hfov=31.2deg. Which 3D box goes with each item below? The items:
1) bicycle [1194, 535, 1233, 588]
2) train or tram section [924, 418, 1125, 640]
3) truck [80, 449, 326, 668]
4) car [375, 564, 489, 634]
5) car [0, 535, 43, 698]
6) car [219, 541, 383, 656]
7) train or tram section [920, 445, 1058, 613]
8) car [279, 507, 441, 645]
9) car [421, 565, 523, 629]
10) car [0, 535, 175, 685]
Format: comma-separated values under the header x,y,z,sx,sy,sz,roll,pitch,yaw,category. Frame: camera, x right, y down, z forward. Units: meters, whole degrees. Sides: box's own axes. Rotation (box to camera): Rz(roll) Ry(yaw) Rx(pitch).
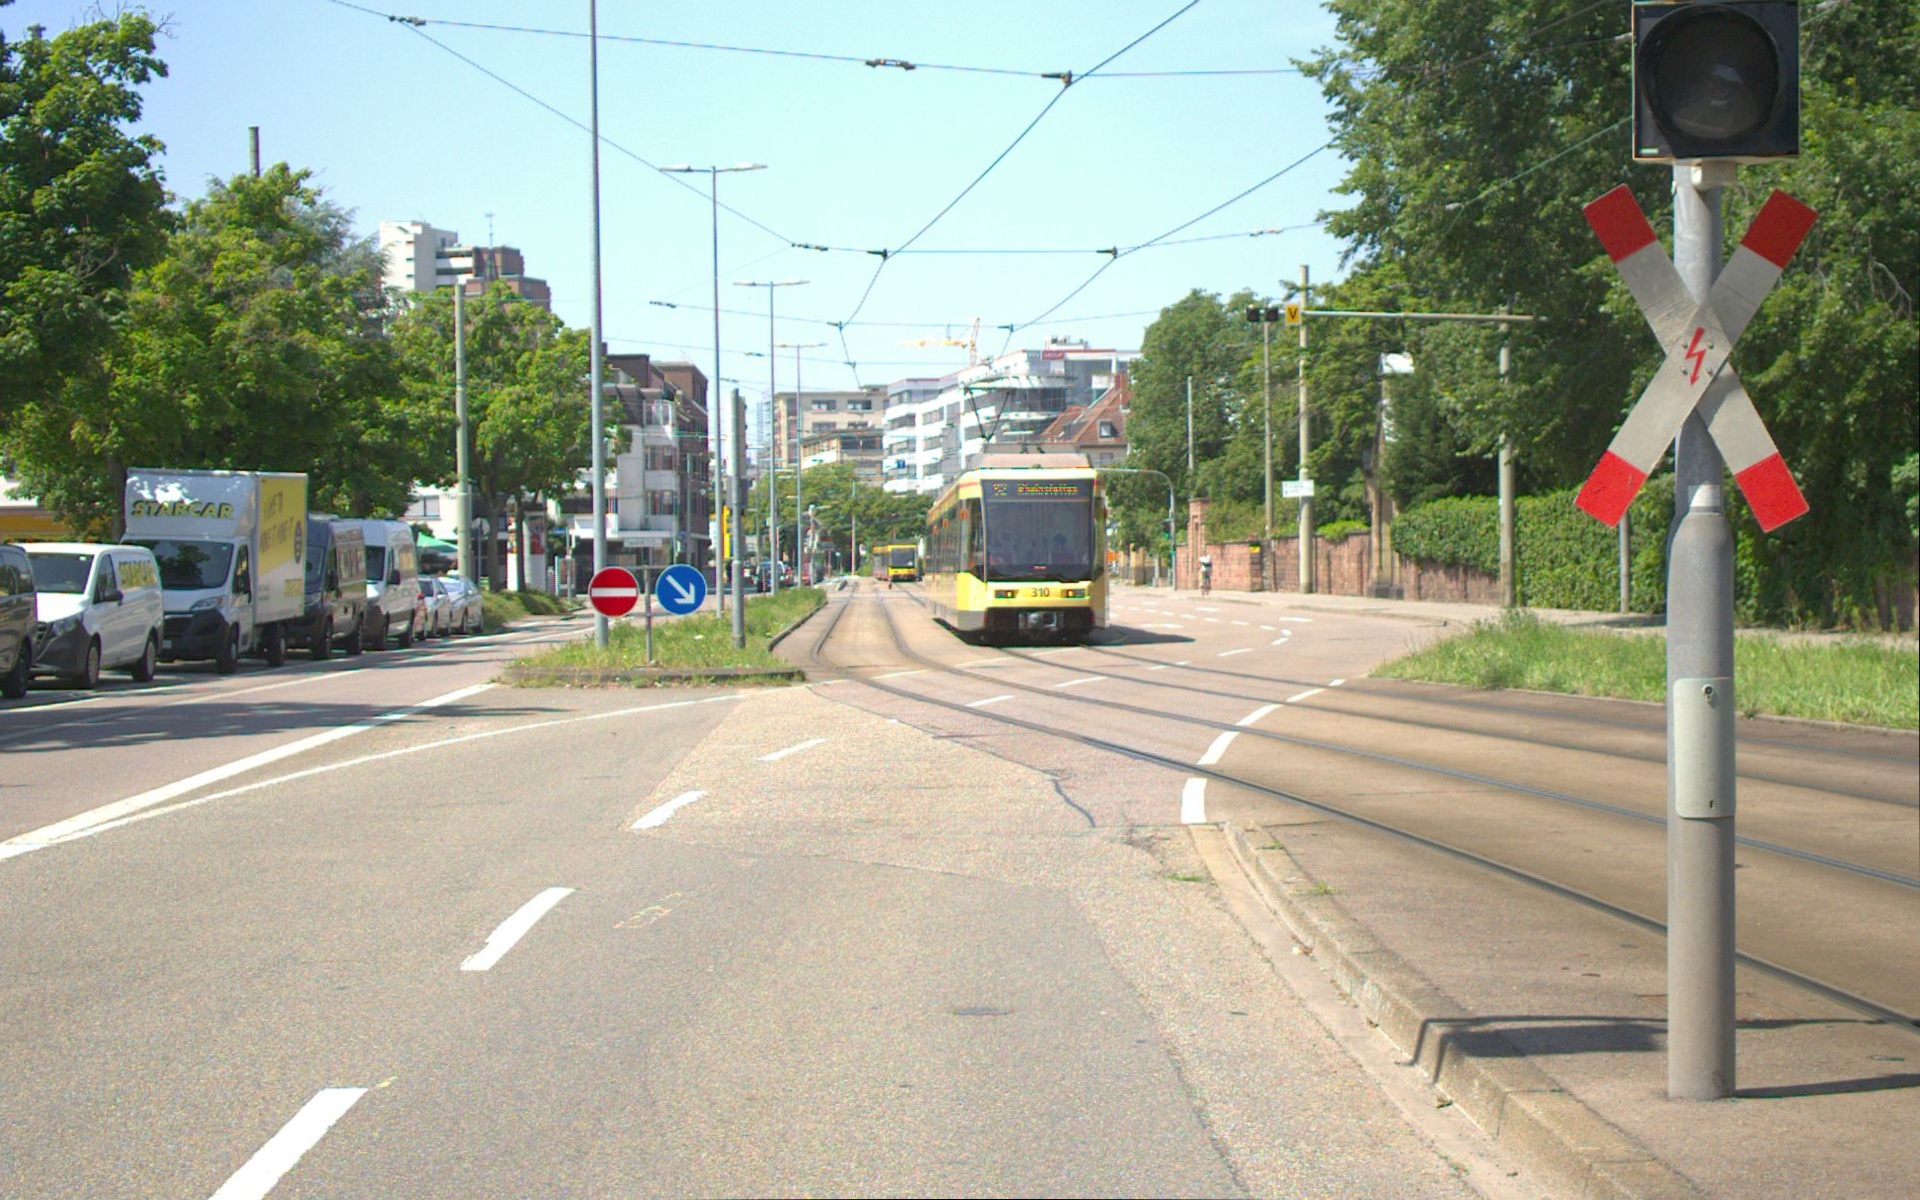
x,y,z,sx,sy,sz,roll,pitch,yaw,category
9.261,-1.408,125.750,1.092,1.901,3.682,-1,1,0,bicycle
0.980,-1.349,66.302,2.943,3.679,18.391,0,1,-2,train or tram section
-11.962,-0.681,54.918,2.157,3.199,7.082,2,1,1,truck
-12.787,-0.042,83.586,2.061,1.576,4.871,-1,1,-1,car
-12.037,0.211,39.530,1.868,1.888,4.271,-1,1,-1,car
-11.934,-0.072,62.571,2.061,1.970,4.871,-1,1,-1,car
0.517,-1.758,85.582,2.943,3.679,20.285,0,1,-1,train or tram section
-12.214,-0.515,70.378,2.157,2.630,5.611,2,1,1,car
-12.902,-0.105,91.183,2.061,1.576,4.871,-1,1,-1,car
-12.145,0.101,46.305,2.061,1.891,4.871,-1,1,-1,car
